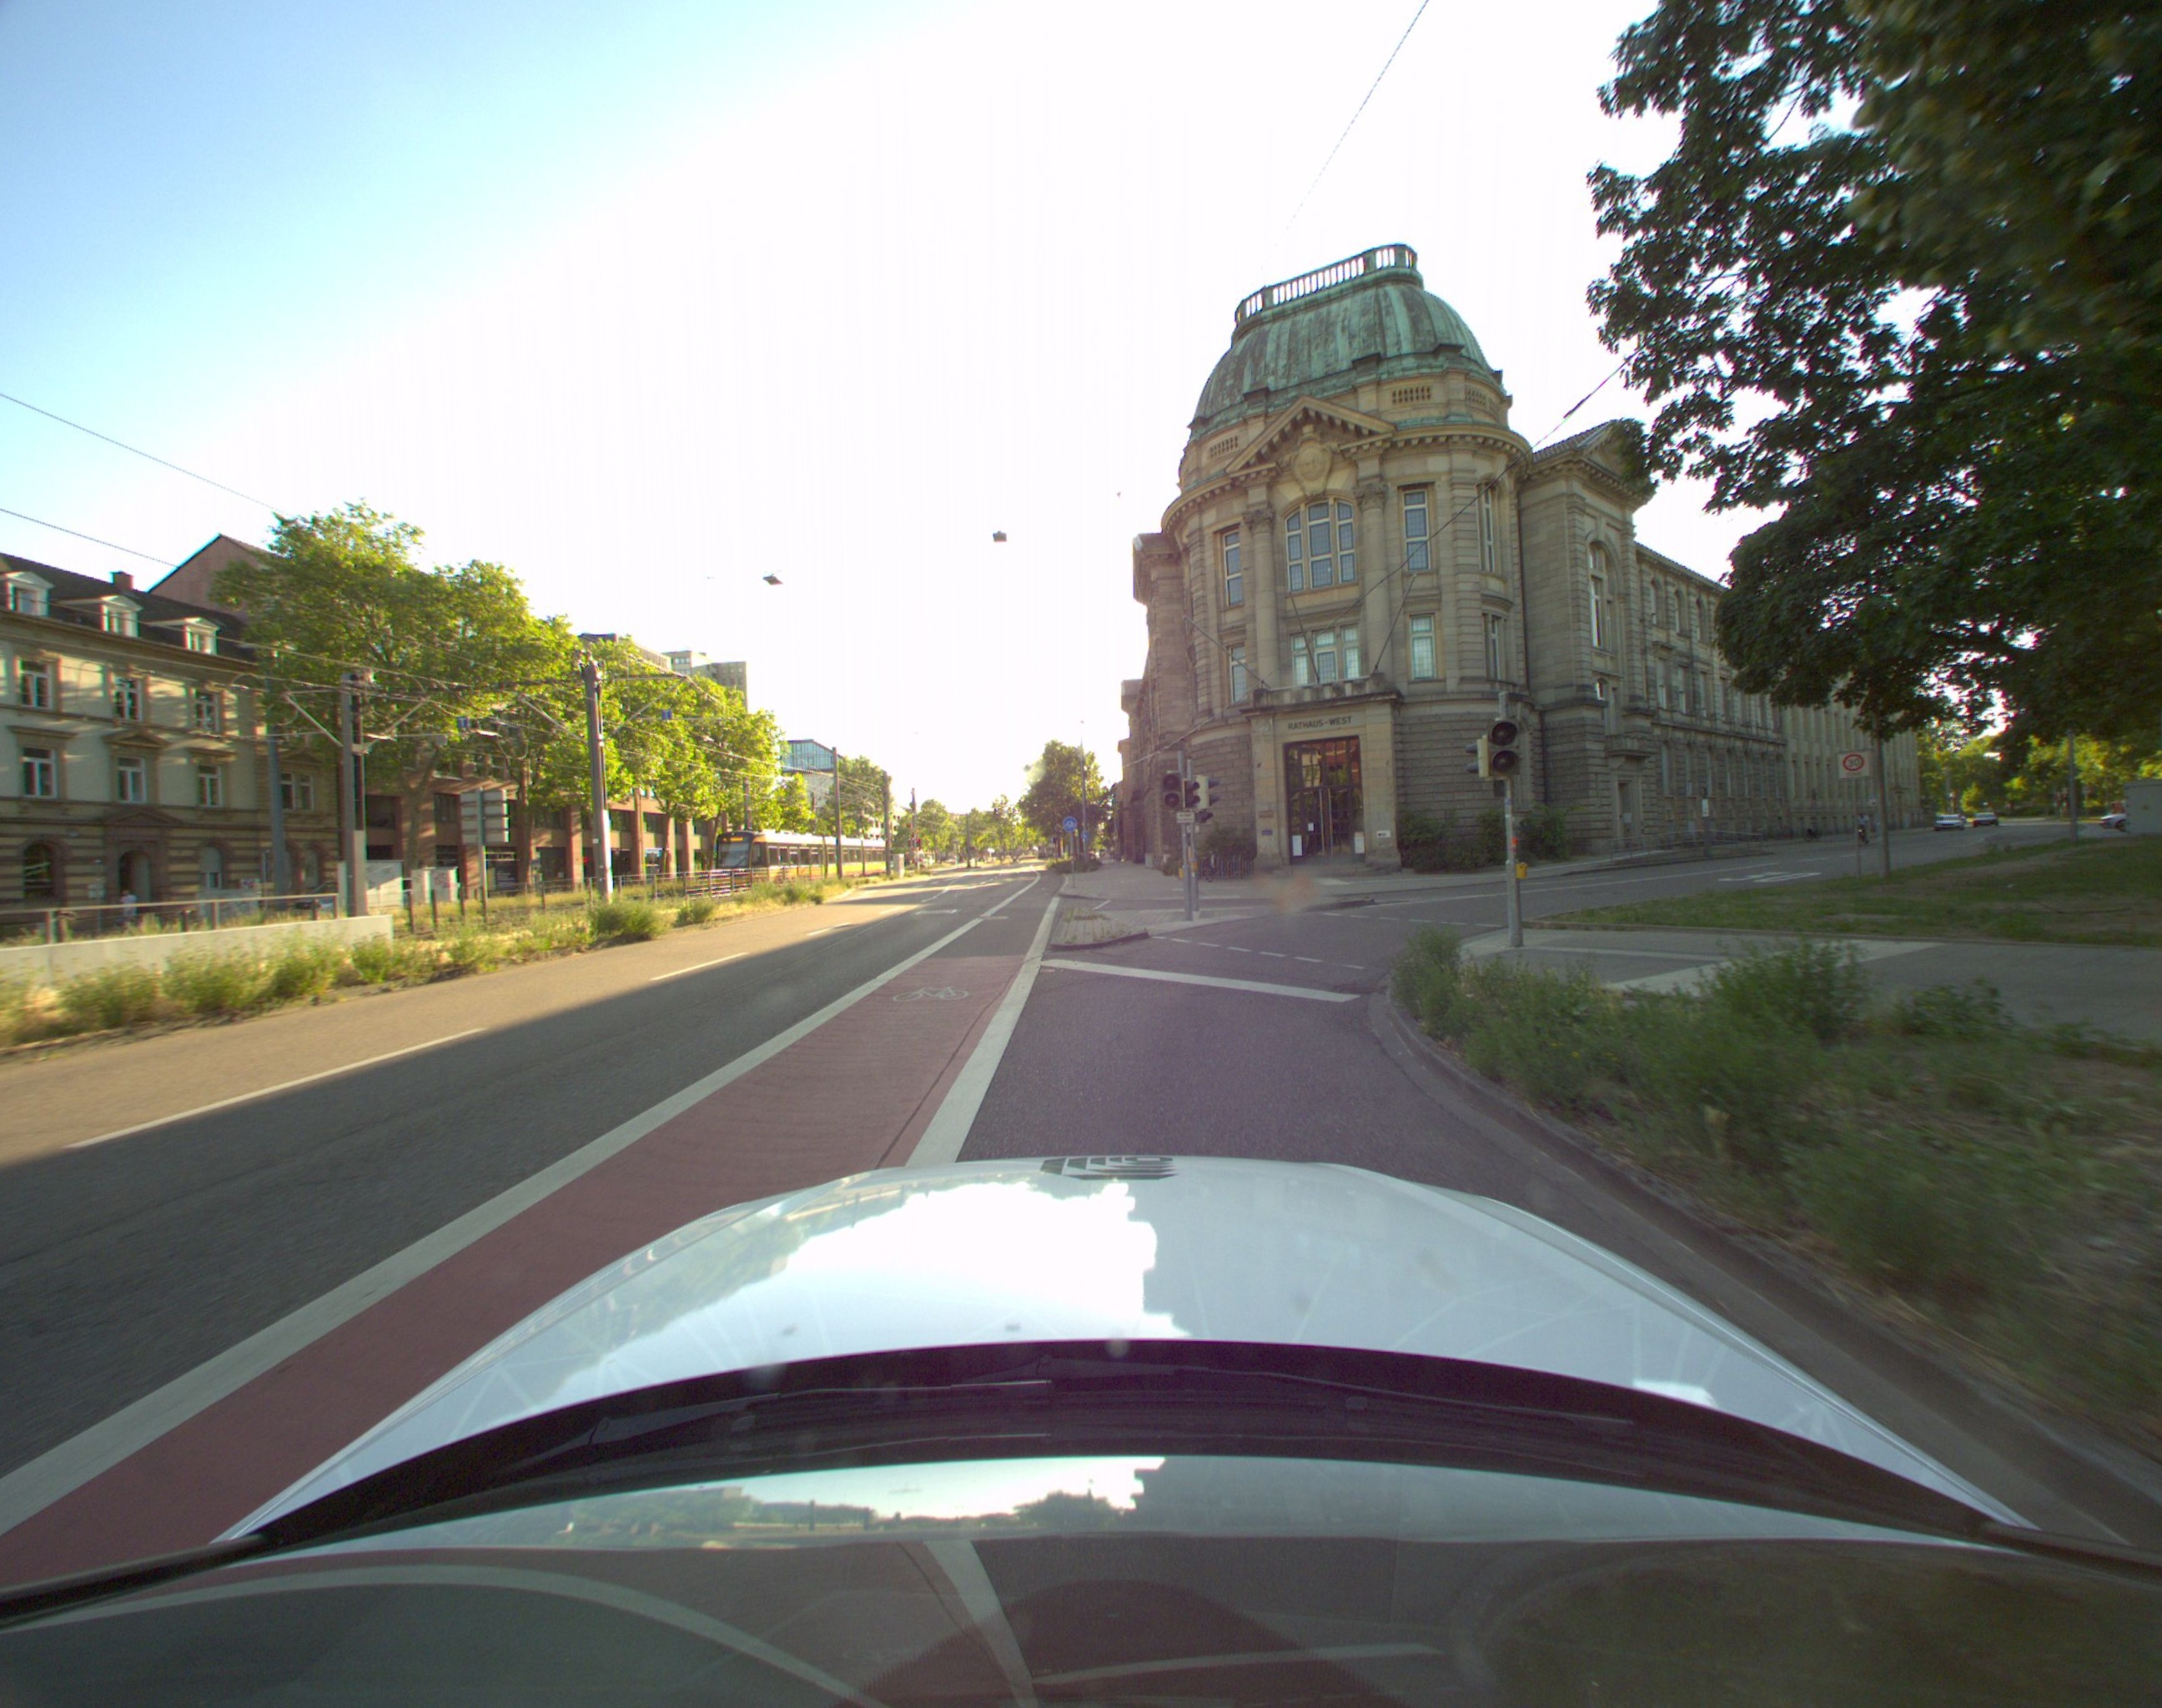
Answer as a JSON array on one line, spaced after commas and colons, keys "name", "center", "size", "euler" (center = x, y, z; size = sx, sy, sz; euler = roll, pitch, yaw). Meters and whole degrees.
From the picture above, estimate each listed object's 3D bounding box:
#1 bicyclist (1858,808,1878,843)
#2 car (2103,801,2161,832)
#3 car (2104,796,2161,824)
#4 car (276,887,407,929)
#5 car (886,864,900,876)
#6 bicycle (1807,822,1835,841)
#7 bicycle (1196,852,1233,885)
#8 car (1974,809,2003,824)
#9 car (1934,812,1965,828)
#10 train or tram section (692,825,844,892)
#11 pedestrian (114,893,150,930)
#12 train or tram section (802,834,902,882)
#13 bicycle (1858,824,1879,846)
[{"name": "bicyclist", "center": [41.742, -1.527, 43.194], "size": [0.639, 1.807, 0.785], "euler": [-4, -1, 41]}, {"name": "car", "center": [57.968, -2.103, 43.326], "size": [1.791, 1.469, 4.405], "euler": [-2, -1, -37]}, {"name": "car", "center": [90.886, -3.809, 69.158], "size": [1.812, 2.014, 4.774], "euler": [-2, -2, -43]}, {"name": "car", "center": [-35.129, 2.514, 38.891], "size": [1.753, 1.585, 4.736], "euler": [-3, 0, 2]}, {"name": "car", "center": [-25.580, 2.113, 111.094], "size": [1.606, 1.529, 3.544], "euler": [-3, 0, -10]}, {"name": "bicycle", "center": [46.178, -1.401, 50.805], "size": [1.989, 1.101, 0.846], "euler": [-2, 1, -33]}, {"name": "bicycle", "center": [5.379, 0.561, 32.801], "size": [0.859, 1.196, 2.252], "euler": [-3, 0, 24]}, {"name": "car", "center": [95.994, -4.000, 86.089], "size": [4.396, 1.466, 1.862], "euler": [-3, 0, -40]}, {"name": "car", "center": [81.430, -3.199, 76.330], "size": [4.396, 1.397, 1.712], "euler": [-2, 0, -40]}, {"name": "train or tram section", "center": [-19.825, 0.297, 53.711], "size": [3.102, 3.559, 17.475], "euler": [-3, 0, 0]}, {"name": "pedestrian", "center": [-41.858, 2.511, 35.918], "size": [0.702, 1.562, 0.690], "euler": [-3, -1, -2]}, {"name": "train or tram section", "center": [-19.740, 0.349, 72.386], "size": [3.102, 3.559, 19.929], "euler": [-3, 0, 0]}, {"name": "bicycle", "center": [41.909, -1.016, 43.350], "size": [0.656, 1.070, 2.167], "euler": [-4, -1, 41]}]
